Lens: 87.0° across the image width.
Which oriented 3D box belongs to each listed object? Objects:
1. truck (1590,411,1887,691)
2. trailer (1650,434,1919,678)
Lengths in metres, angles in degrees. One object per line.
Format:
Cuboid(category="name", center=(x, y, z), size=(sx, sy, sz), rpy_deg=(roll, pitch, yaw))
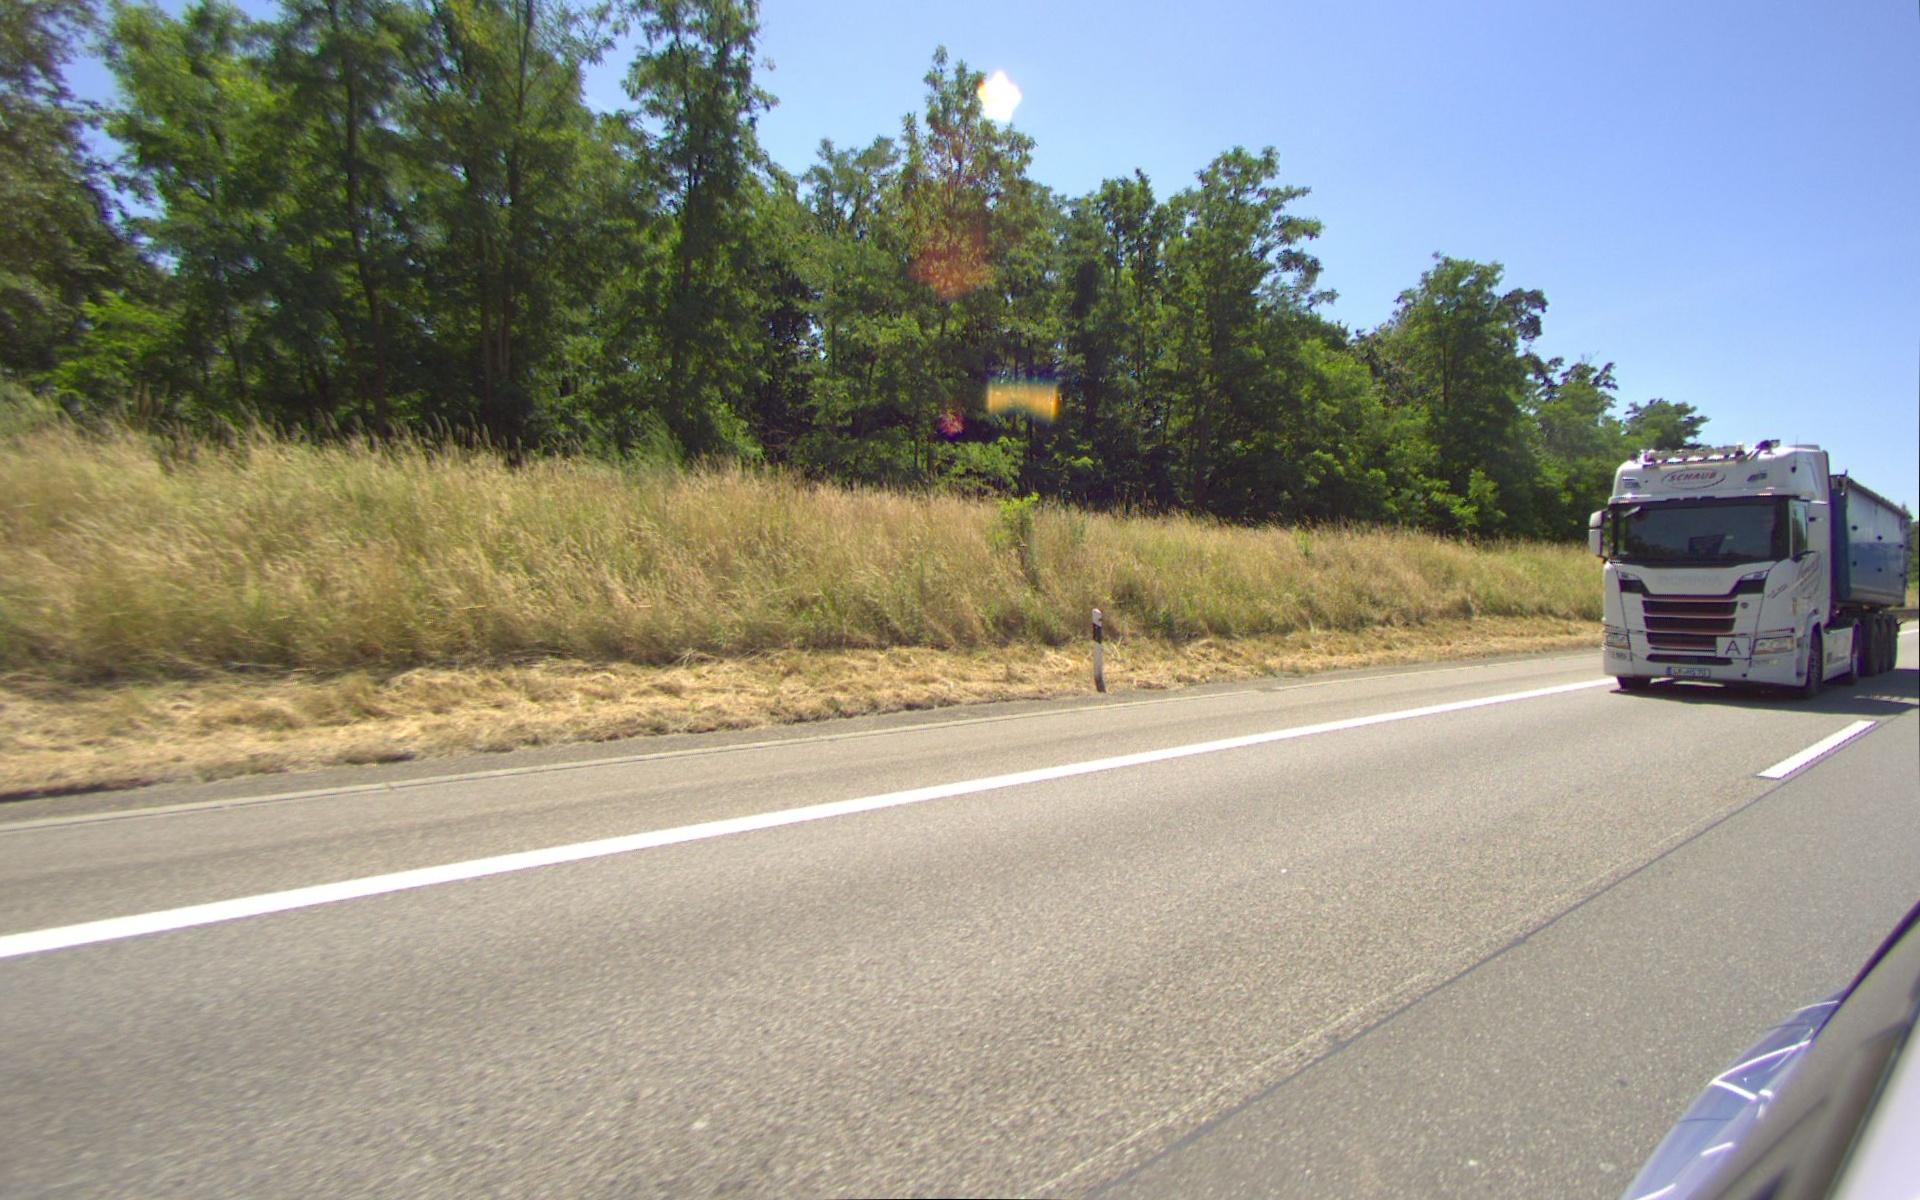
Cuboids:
Cuboid(category="truck", center=(12.957, -0.668, 16.685), size=(5.838, 3.806, 2.690), rpy_deg=(1, 0, -40))
Cuboid(category="trailer", center=(16.457, -0.683, 19.729), size=(8.948, 3.806, 2.742), rpy_deg=(1, 0, -41))
